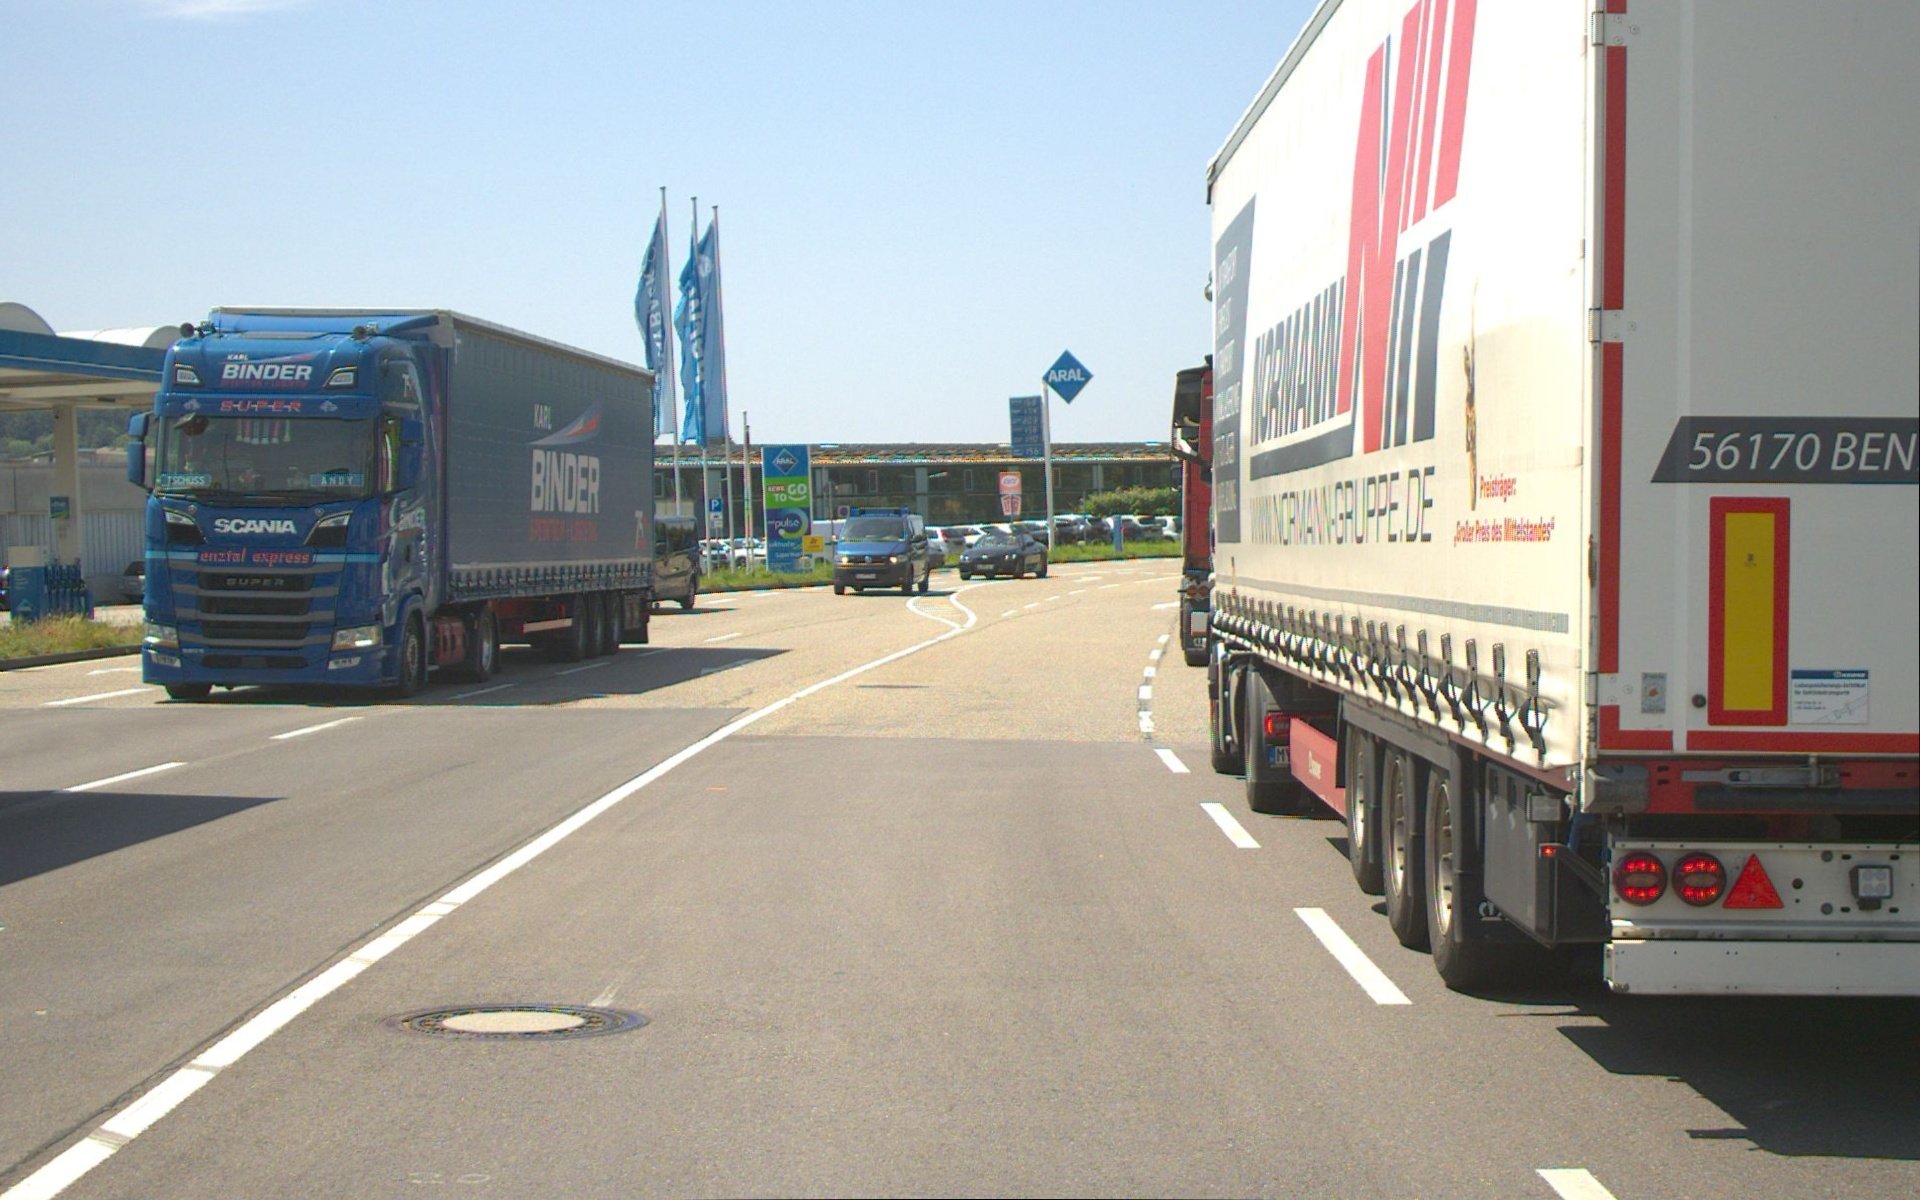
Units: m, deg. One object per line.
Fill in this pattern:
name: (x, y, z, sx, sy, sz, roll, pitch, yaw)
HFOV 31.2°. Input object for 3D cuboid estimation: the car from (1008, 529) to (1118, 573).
car: (4.179, -1.991, 139.559, 3.995, 1.744, 1.996, 0, 1, 34)

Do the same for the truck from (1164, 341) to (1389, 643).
truck: (4.466, -1.534, 50.881, 2.648, 3.793, 13.359, -2, 1, 3)

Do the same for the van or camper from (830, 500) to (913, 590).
van or camper: (-2.123, -1.361, 84.165, 1.836, 2.130, 5.343, 0, 1, 1)

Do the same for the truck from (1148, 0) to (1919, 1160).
truck: (2.828, -0.829, 17.103, 2.973, 4.079, 17.635, 0, 1, 1)

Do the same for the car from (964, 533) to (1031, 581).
car: (1.064, -1.250, 98.168, 1.848, 1.267, 4.177, -2, 1, 1)

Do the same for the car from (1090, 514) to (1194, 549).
car: (7.777, -2.939, 147.160, 3.994, 1.313, 1.830, -2, 1, 31)

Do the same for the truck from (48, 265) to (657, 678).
truck: (-6.495, -1.298, 40.945, 2.844, 3.876, 17.003, 0, 1, 5)

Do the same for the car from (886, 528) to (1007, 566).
car: (-0.529, -2.043, 132.628, 4.244, 1.354, 1.996, 0, 1, 32)

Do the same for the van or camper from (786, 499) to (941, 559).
van or camper: (-3.164, -2.322, 113.076, 4.849, 1.898, 1.904, 0, 0, 8)
